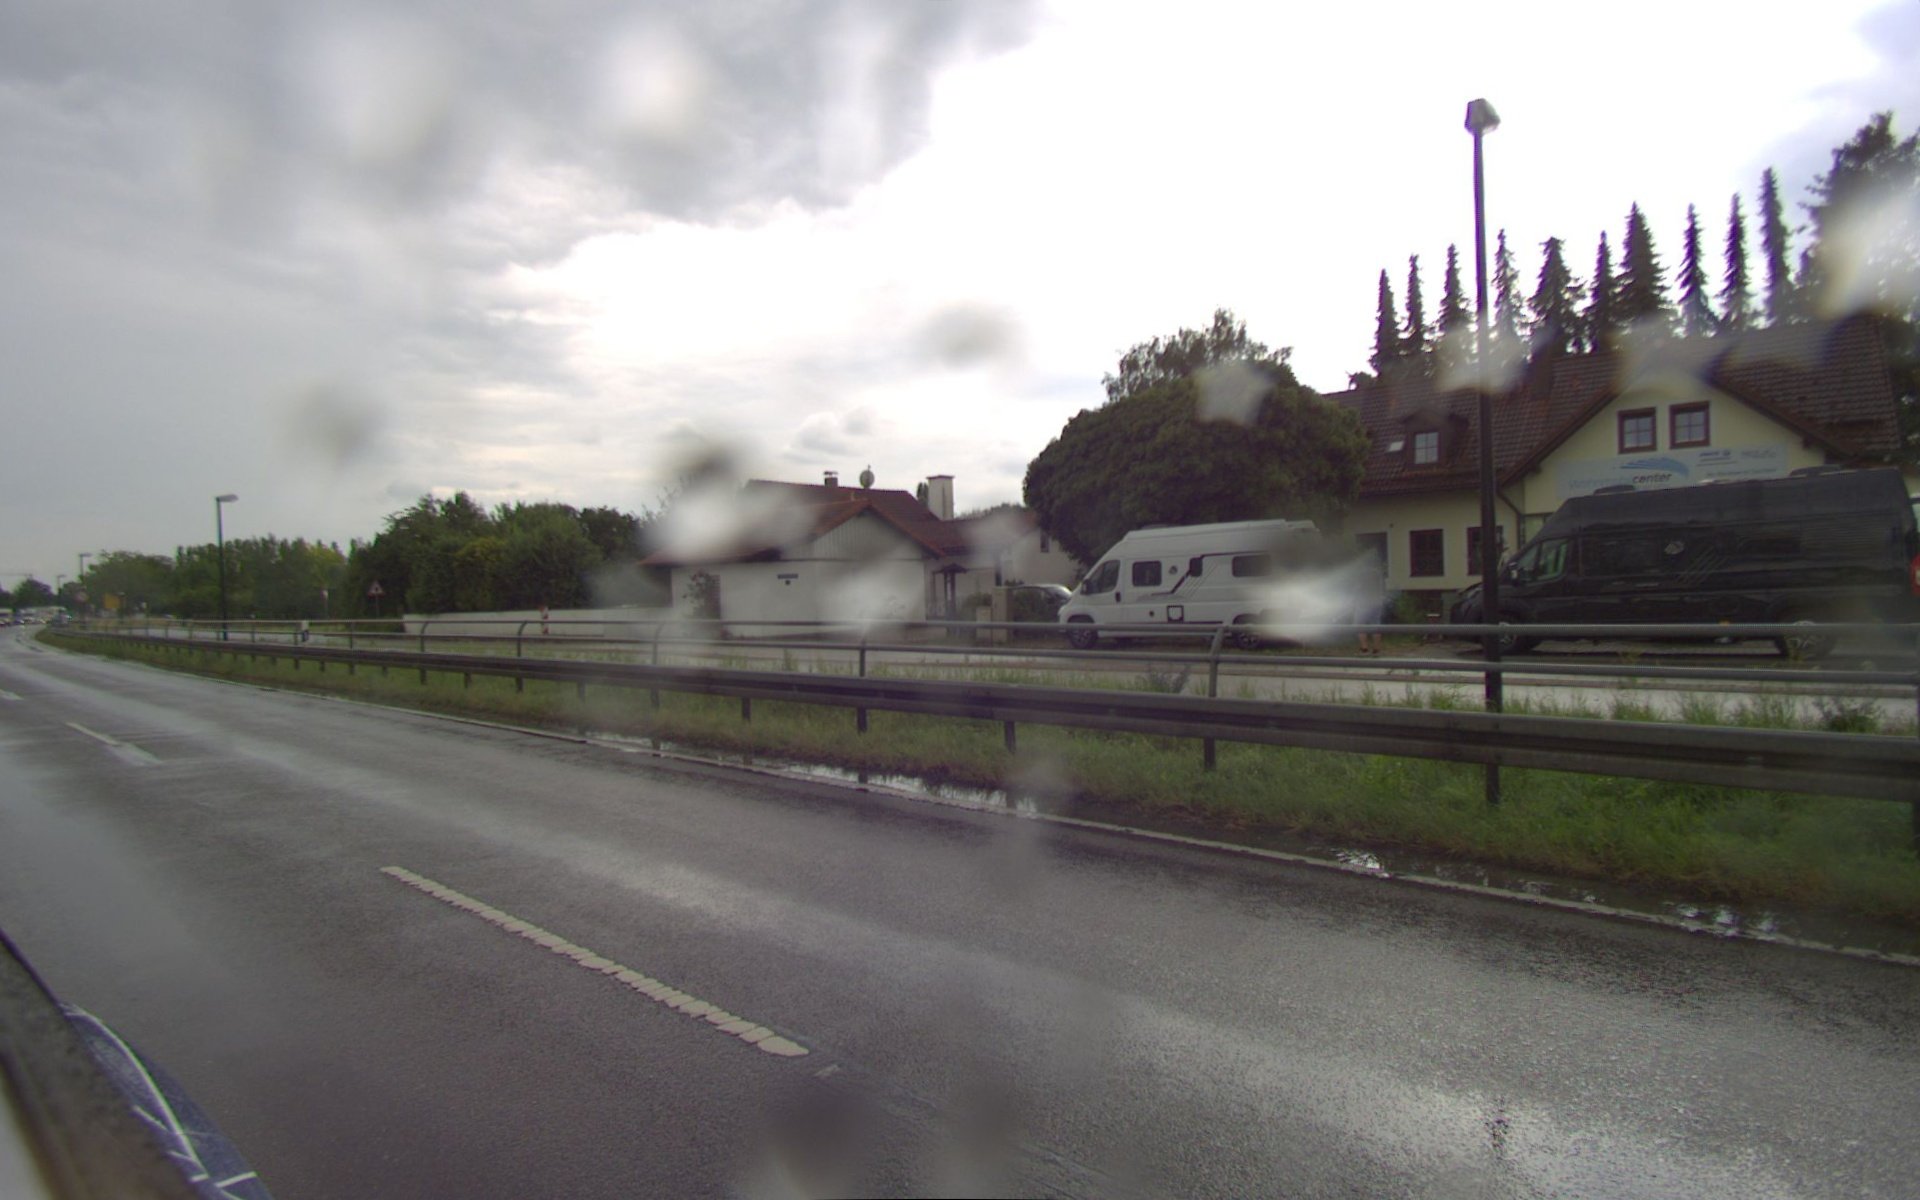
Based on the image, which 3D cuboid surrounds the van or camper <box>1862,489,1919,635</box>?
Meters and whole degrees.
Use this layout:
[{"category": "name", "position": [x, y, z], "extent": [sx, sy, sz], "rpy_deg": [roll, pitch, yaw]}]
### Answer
[{"category": "van or camper", "position": [19.634, -0.796, 19.878], "extent": [2.560, 2.611, 6.161], "rpy_deg": [-2, 1, 40]}]

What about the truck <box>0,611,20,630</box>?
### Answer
[{"category": "truck", "position": [-135.618, 2.954, 143.777], "extent": [7.171, 2.494, 2.762], "rpy_deg": [-1, 1, 45]}]

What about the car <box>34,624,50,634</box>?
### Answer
[{"category": "car", "position": [-174.977, 5.533, 192.838], "extent": [4.026, 1.746, 1.788], "rpy_deg": [-2, 1, 42]}]

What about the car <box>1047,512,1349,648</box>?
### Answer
[{"category": "car", "position": [5.033, -0.354, 22.059], "extent": [6.015, 2.600, 2.215], "rpy_deg": [-2, 1, 40]}]

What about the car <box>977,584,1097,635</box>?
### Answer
[{"category": "car", "position": [2.204, 0.293, 29.436], "extent": [3.270, 1.366, 1.433], "rpy_deg": [-1, 1, 43]}]

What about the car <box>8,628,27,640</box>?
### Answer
[{"category": "car", "position": [-162.474, 5.867, 174.437], "extent": [4.098, 2.029, 1.973], "rpy_deg": [-2, 1, 42]}]

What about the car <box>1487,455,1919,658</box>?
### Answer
[{"category": "car", "position": [11.943, -0.576, 16.469], "extent": [5.567, 2.783, 2.360], "rpy_deg": [-2, 1, 39]}]

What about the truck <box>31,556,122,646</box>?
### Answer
[{"category": "truck", "position": [-53.647, 0.087, 61.380], "extent": [7.783, 5.071, 3.213], "rpy_deg": [-2, 1, 43]}]

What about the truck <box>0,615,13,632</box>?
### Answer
[{"category": "truck", "position": [-147.205, 3.608, 154.984], "extent": [7.171, 2.494, 2.762], "rpy_deg": [-1, 1, 45]}]

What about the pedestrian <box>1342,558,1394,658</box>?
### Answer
[{"category": "pedestrian", "position": [7.199, 0.134, 17.872], "extent": [0.509, 1.723, 0.651], "rpy_deg": [-2, 1, -40]}]
